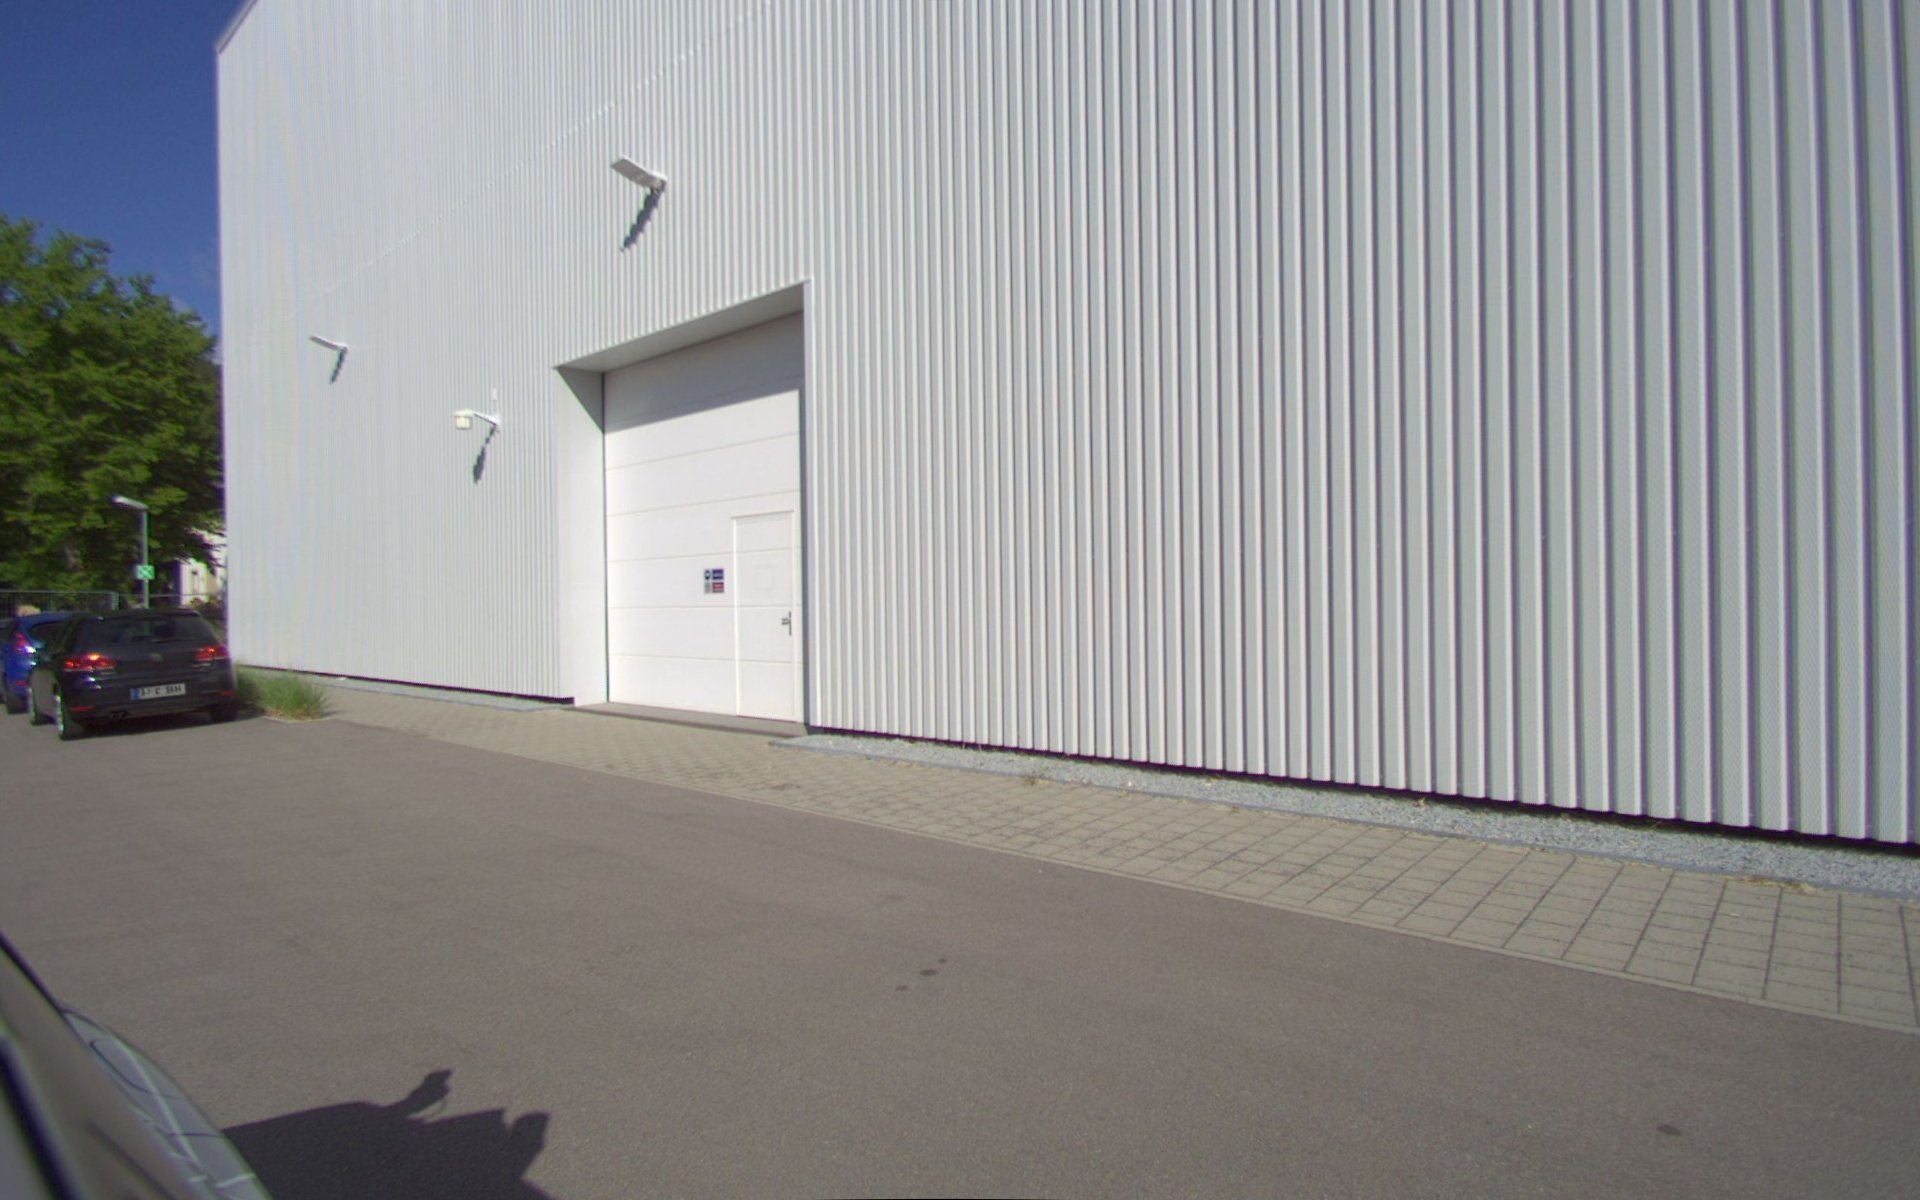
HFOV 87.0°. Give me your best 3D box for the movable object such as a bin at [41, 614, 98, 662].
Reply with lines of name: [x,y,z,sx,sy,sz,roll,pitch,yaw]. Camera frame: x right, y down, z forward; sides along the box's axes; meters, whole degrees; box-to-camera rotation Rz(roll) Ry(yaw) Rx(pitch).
movable object such as a bin: [-28.444,1.202,32.318,1.228,1.443,1.080,0,2,36]

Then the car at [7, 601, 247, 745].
car: [-10.899,0.828,13.125,4.292,1.511,1.736,-1,1,42]

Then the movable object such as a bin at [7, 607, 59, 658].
movable object such as a bin: [-31.200,1.071,34.067,1.228,1.609,1.080,1,1,36]

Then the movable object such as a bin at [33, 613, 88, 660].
movable object such as a bin: [-29.470,1.186,33.170,1.228,1.450,1.080,0,2,36]

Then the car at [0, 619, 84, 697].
car: [-18.737,1.086,19.861,4.051,1.371,1.756,-1,0,41]

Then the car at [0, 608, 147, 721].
car: [-14.629,0.949,16.290,4.092,1.511,1.614,-1,2,40]
